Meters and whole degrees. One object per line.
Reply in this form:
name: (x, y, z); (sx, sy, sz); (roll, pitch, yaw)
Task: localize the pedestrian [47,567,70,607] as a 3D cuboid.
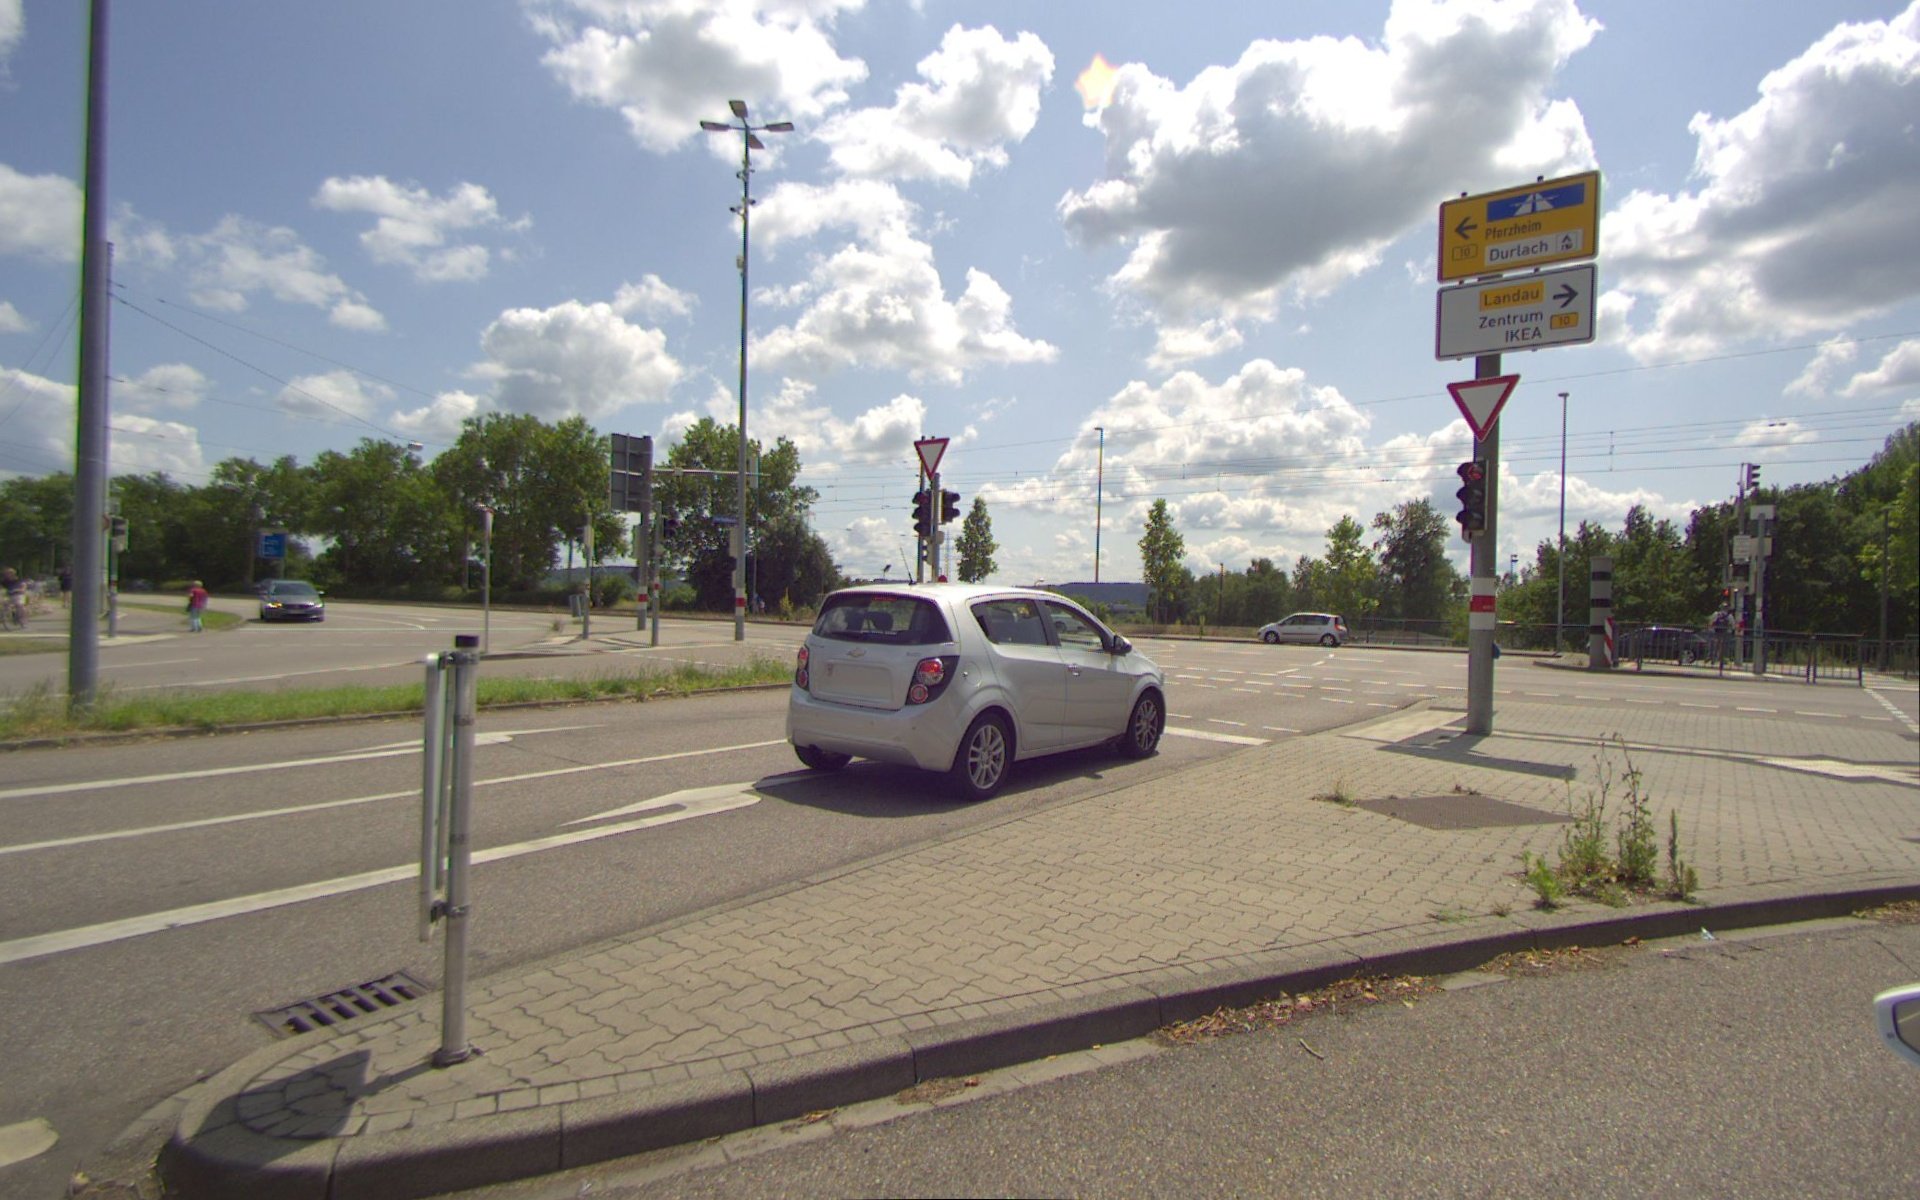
pedestrian: (-47.395, -0.677, 52.815); (0.766, 2.040, 0.562); (1, -1, -32)

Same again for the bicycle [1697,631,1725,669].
bicycle: (22.679, 1.499, 30.318); (0.611, 1.102, 1.714); (1, 0, 39)

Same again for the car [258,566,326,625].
car: (-24.797, -0.112, 37.228); (1.980, 2.040, 3.960); (1, -1, -35)

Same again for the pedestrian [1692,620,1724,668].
pedestrian: (32.408, 1.902, 43.532); (0.967, 2.040, 0.901); (0, -1, 29)

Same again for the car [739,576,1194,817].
car: (0.262, 0.614, 8.457); (1.871, 1.489, 3.817); (3, 1, 38)

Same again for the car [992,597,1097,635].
car: (4.296, 0.822, 51.315); (5.053, 1.832, 1.992); (0, -2, 38)

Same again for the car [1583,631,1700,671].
car: (27.930, 2.060, 41.297); (3.823, 1.427, 1.667); (1, 0, 31)

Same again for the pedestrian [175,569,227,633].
pedestrian: (-22.919, 0.030, 30.341); (0.782, 1.862, 0.868); (3, 0, 9)

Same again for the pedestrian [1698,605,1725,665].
pedestrian: (22.666, 1.048, 30.290); (0.604, 1.792, 0.669); (1, 0, 39)

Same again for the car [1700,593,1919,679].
car: (19.248, 0.777, 22.786); (3.935, 1.806, 1.903); (0, -1, 36)

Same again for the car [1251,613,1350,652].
car: (16.563, 1.587, 48.922); (4.246, 1.679, 1.811); (1, -6, 31)
